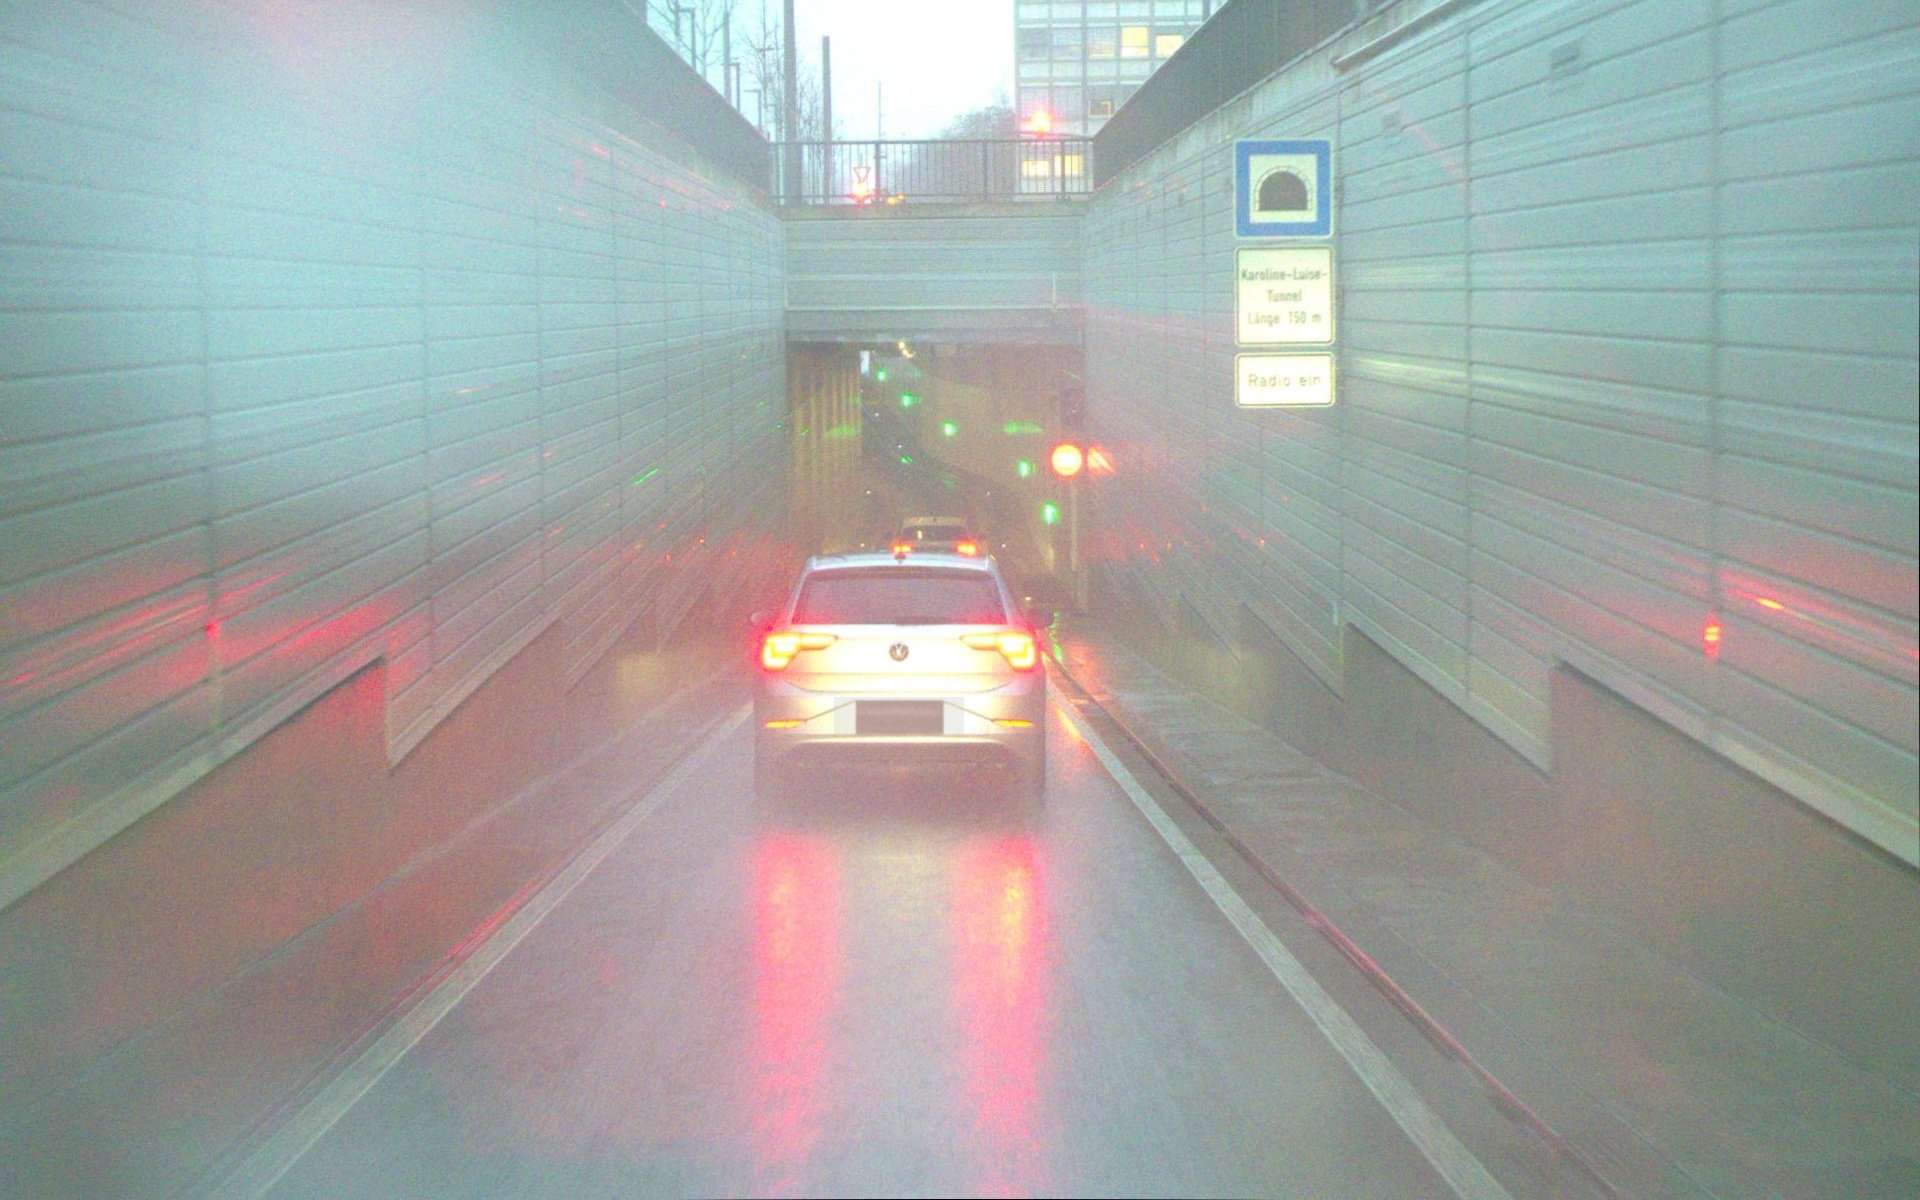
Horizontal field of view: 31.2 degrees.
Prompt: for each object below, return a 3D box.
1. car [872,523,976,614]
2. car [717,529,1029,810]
[{"bbox_3d":[-0.738,-0.644,67.162,1.919,1.480,4.001,1,4,-2],"label":"car"},{"bbox_3d":[-0.451,0.347,21.310,1.722,1.474,4.000,1,2,1],"label":"car"}]
